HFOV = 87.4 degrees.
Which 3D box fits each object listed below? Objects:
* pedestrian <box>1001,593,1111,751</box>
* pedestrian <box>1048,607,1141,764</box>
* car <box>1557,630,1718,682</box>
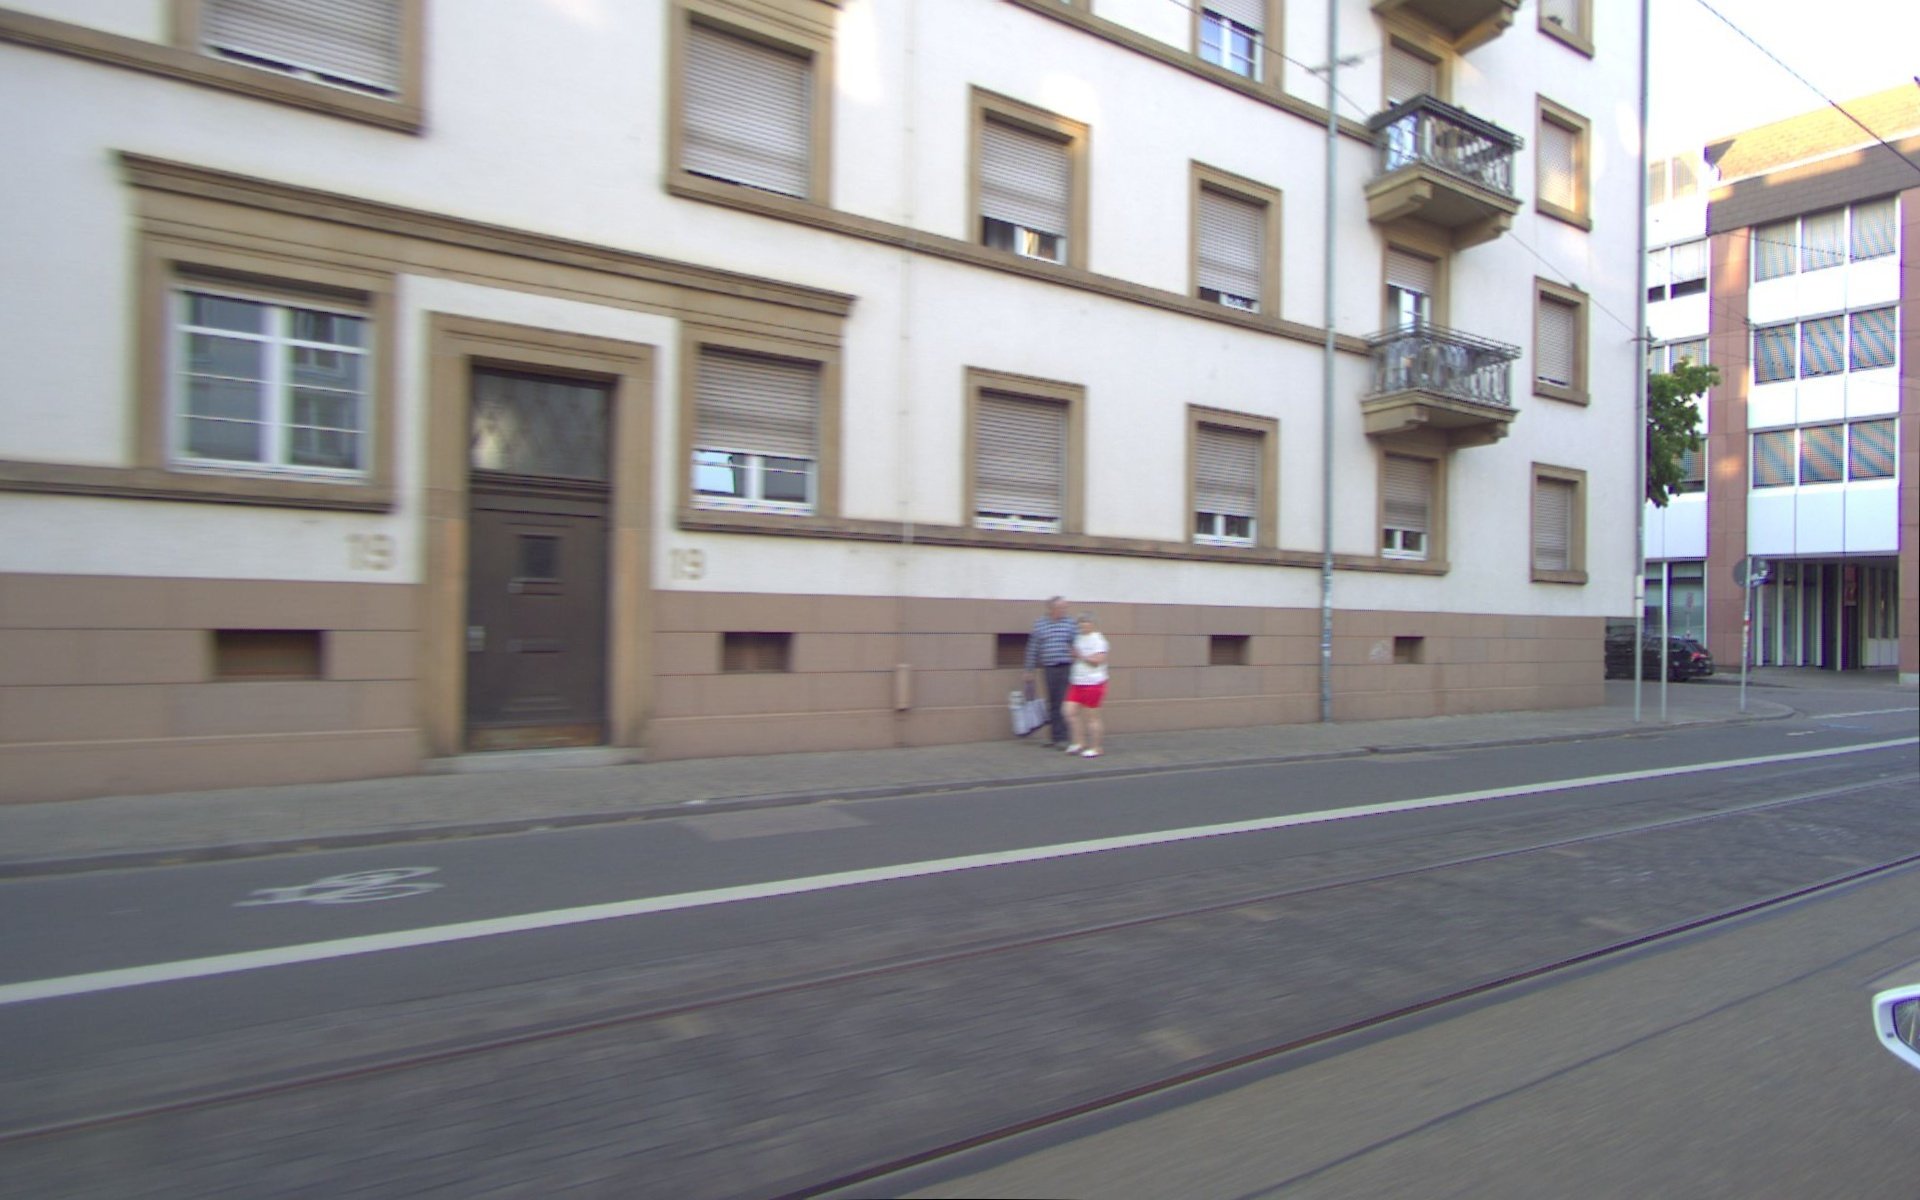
[{"bbox_3d":[1.108,0.803,11.585,0.971,1.724,0.791,1,-1,-33],"label":"pedestrian"},{"bbox_3d":[1.457,0.898,10.885,0.802,1.631,0.587,1,-1,-33],"label":"pedestrian"},{"bbox_3d":[21.919,1.789,32.591,1.906,1.524,3.958,4,-3,-37],"label":"car"}]
